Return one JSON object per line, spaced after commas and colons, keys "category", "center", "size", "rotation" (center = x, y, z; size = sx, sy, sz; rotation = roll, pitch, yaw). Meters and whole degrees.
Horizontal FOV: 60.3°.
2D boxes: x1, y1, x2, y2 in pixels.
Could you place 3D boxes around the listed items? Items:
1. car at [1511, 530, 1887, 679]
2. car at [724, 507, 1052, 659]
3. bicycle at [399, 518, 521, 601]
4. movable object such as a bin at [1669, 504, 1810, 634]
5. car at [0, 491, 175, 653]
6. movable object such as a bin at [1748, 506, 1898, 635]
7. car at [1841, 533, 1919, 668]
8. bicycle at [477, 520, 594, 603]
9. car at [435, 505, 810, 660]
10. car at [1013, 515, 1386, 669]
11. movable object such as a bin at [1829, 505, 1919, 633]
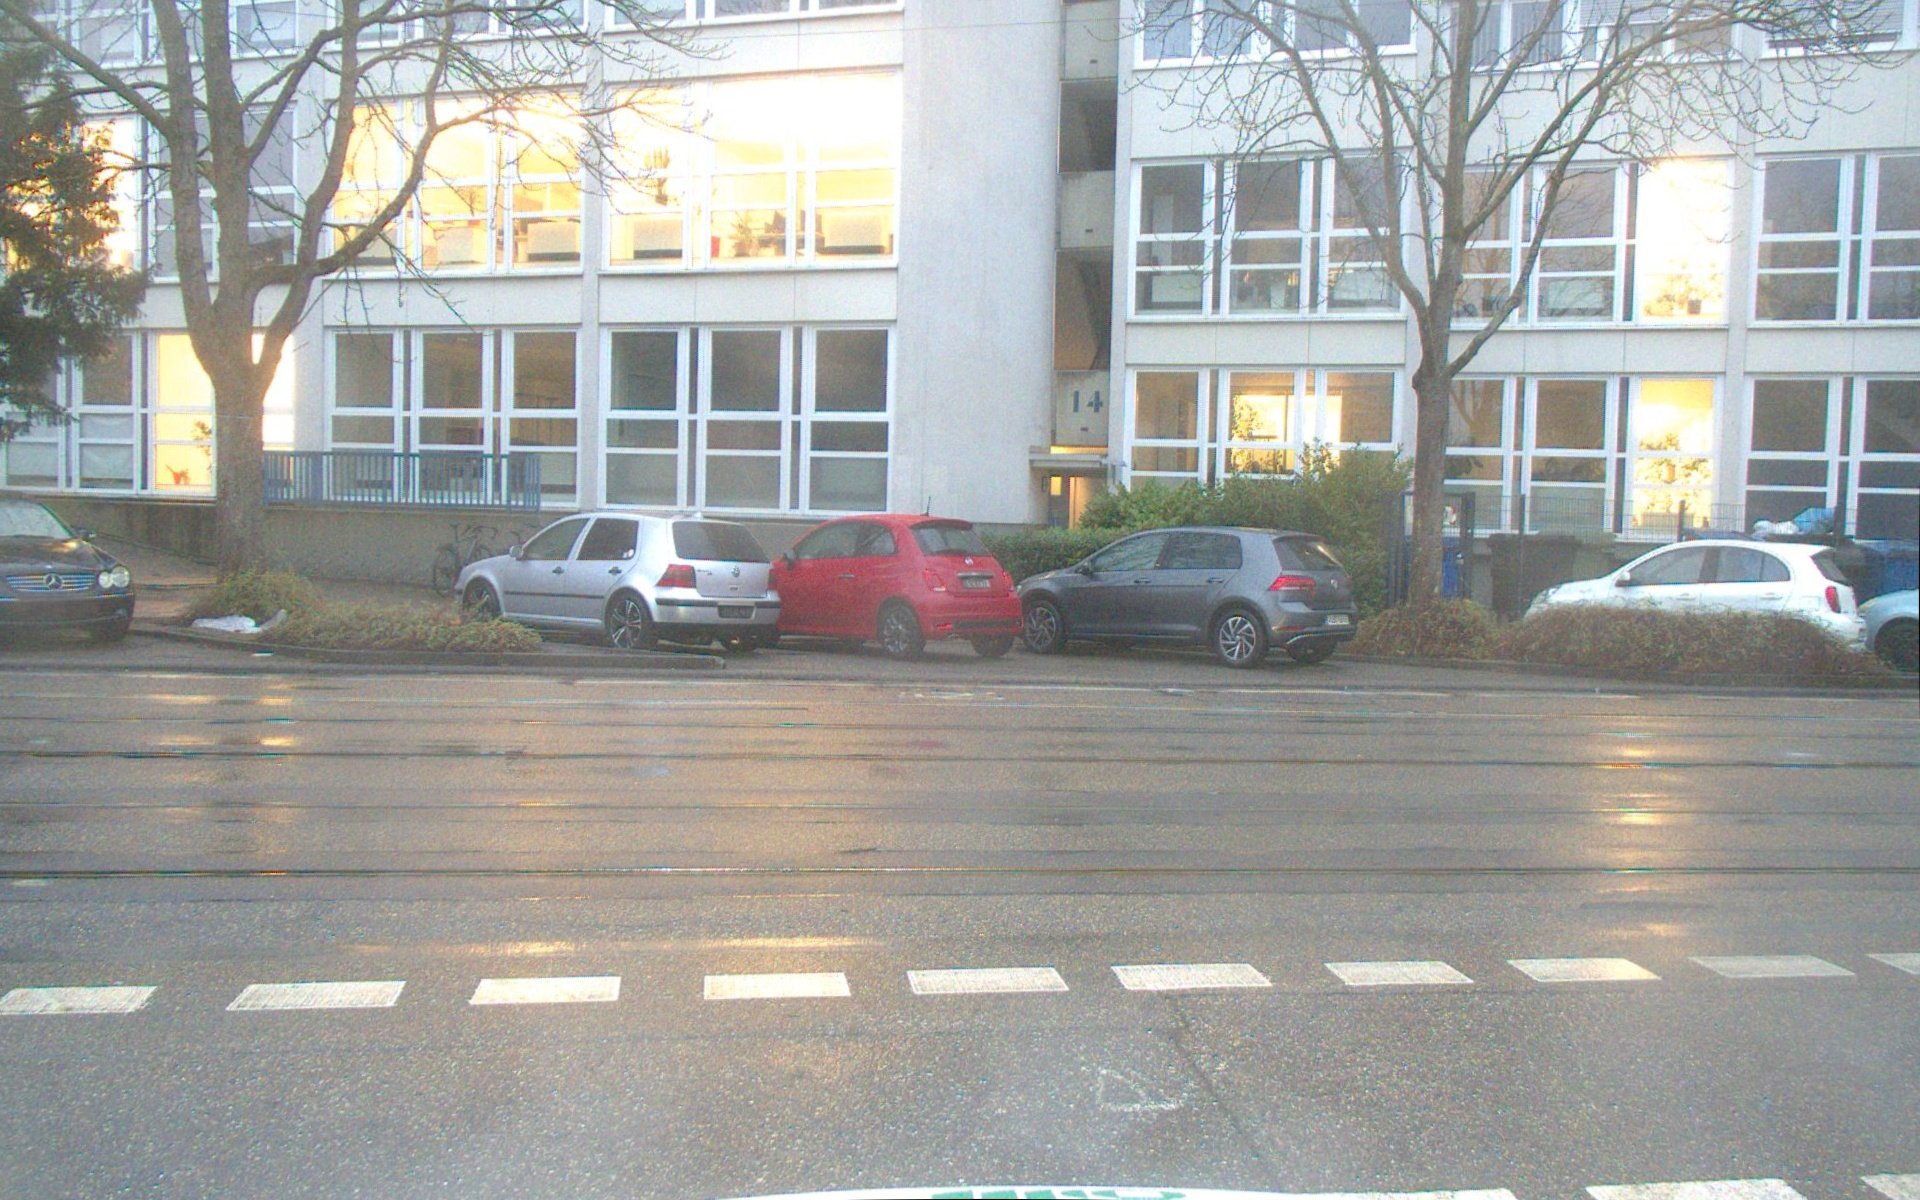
{"category": "car", "center": [8.769, -0.023, 19.760], "size": [3.802, 1.578, 1.686], "rotation": [3, 3, 38]}
{"category": "car", "center": [-0.847, -0.254, 18.289], "size": [3.389, 1.518, 1.720], "rotation": [3, 3, 41]}
{"category": "bicycle", "center": [-7.240, -0.605, 24.072], "size": [0.626, 1.140, 2.208], "rotation": [1, 2, 15]}
{"category": "movable object such as a bin", "center": [11.732, -0.486, 24.967], "size": [1.288, 1.892, 1.573], "rotation": [0, 2, -6]}
{"category": "car", "center": [-9.428, -0.331, 16.074], "size": [3.928, 1.402, 1.846], "rotation": [3, 3, 41]}
{"category": "movable object such as a bin", "center": [13.087, -0.477, 25.152], "size": [1.362, 1.892, 1.573], "rotation": [0, 2, -6]}
{"category": "car", "center": [12.820, 0.033, 19.575], "size": [3.928, 1.590, 1.727], "rotation": [3, 3, 41]}
{"category": "bicycle", "center": [-6.067, -0.574, 23.781], "size": [0.626, 1.140, 2.208], "rotation": [1, 2, 15]}
{"category": "car", "center": [-3.649, -0.258, 17.615], "size": [3.921, 1.471, 1.786], "rotation": [3, 3, 37]}
{"category": "car", "center": [2.597, -0.163, 18.380], "size": [3.781, 1.518, 1.688], "rotation": [3, 3, 39]}
{"category": "movable object such as a bin", "center": [14.401, -0.497, 25.309], "size": [1.288, 1.892, 1.573], "rotation": [0, 2, -6]}
